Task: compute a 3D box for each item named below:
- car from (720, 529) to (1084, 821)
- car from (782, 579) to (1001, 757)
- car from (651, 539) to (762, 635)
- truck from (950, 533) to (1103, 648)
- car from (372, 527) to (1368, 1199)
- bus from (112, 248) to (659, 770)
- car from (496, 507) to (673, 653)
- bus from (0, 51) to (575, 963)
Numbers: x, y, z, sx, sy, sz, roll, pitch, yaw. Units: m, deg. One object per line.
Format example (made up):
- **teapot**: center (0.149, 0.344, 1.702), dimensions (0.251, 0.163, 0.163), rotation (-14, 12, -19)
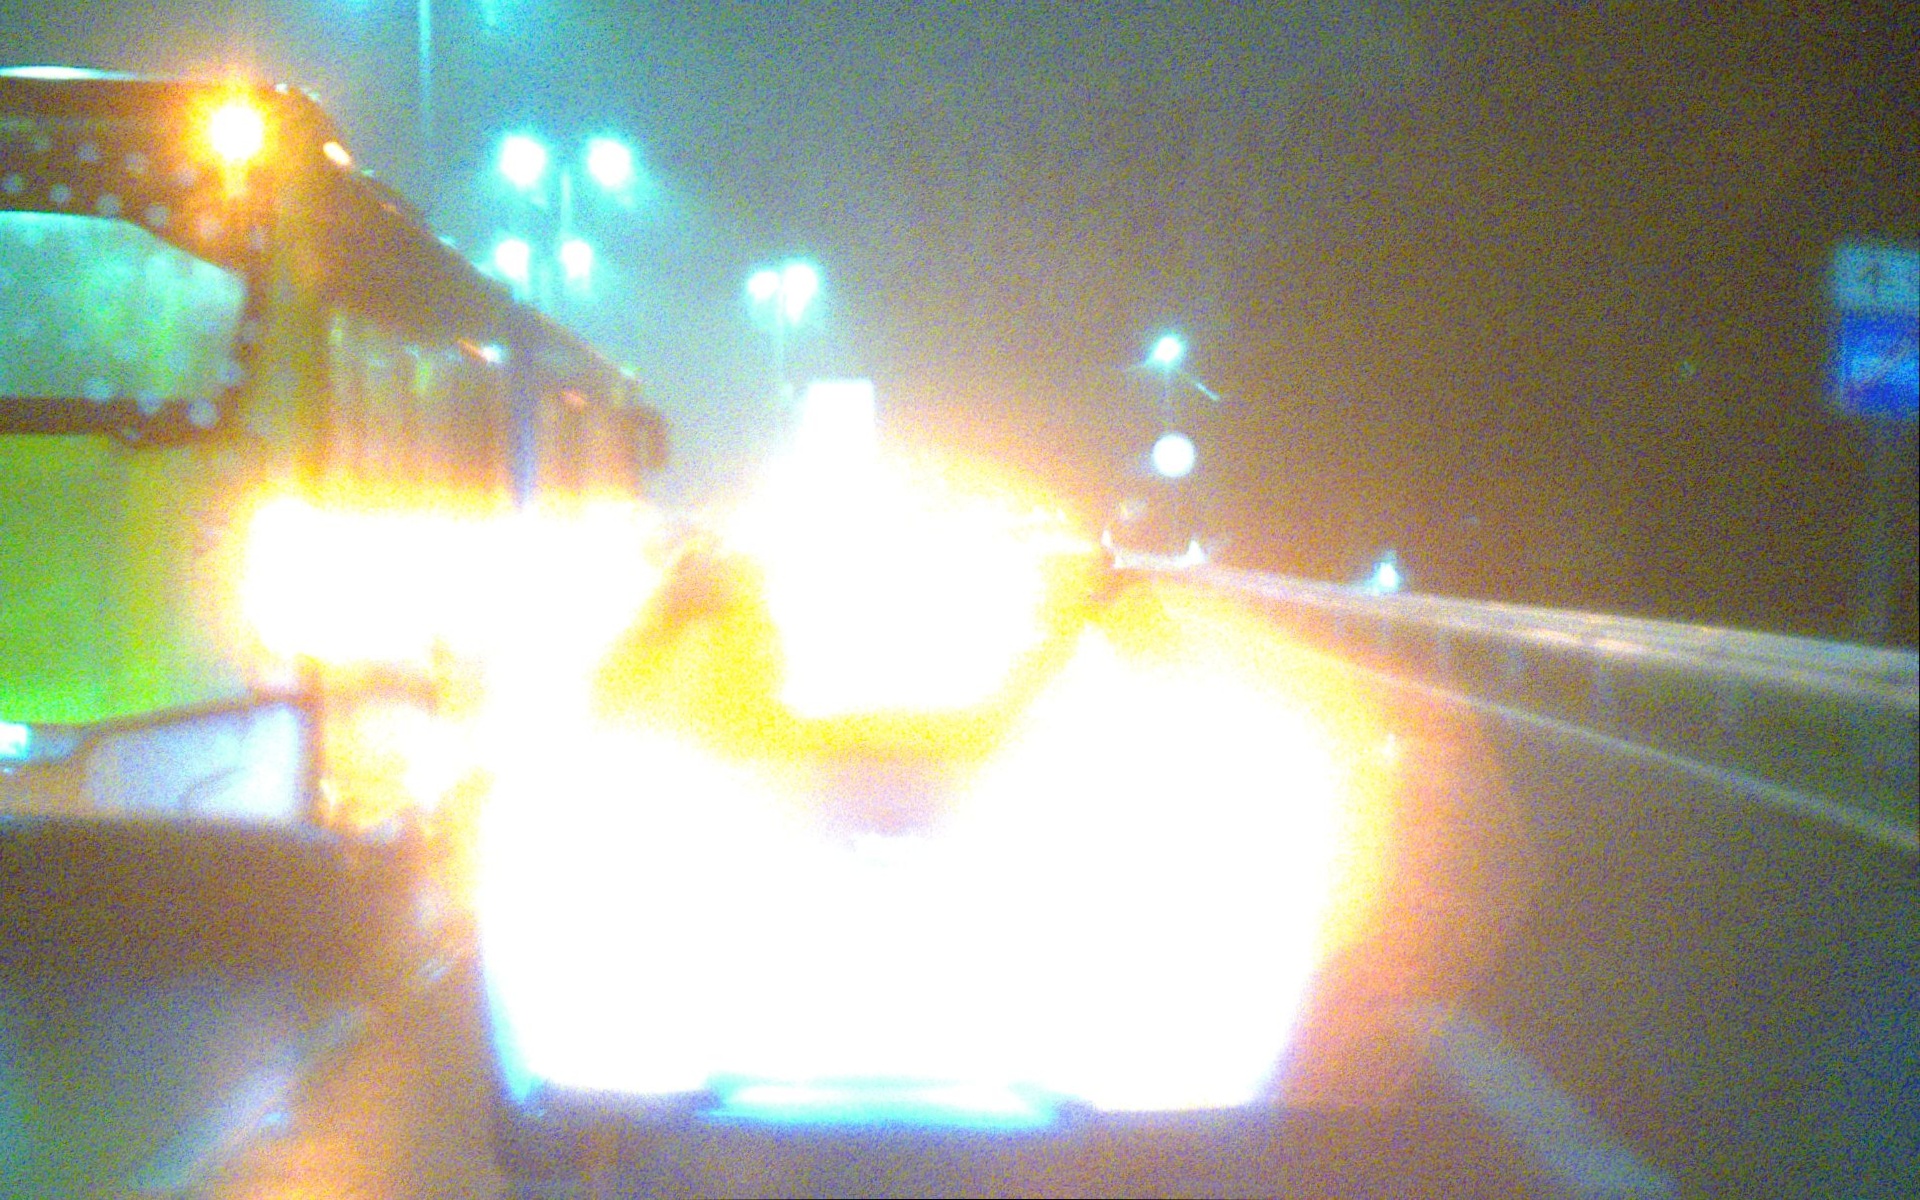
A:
- **car**: center (-0.320, 0.352, 19.235), dimensions (1.822, 1.456, 3.716), rotation (1, 1, -1)
- **car**: center (-0.603, 0.561, 30.799), dimensions (1.822, 1.456, 3.716), rotation (1, 1, -1)
- **car**: center (-4.131, -0.210, 56.426), dimensions (1.557, 1.481, 3.809), rotation (2, 0, -1)
- **truck**: center (1.651, -0.215, 81.686), dimensions (3.070, 2.520, 7.165), rotation (2, 0, 5)
- **car**: center (-0.300, 0.583, 8.601), dimensions (1.944, 1.486, 3.716), rotation (1, 1, -4)
- **bus**: center (-3.904, -0.667, 25.420), dimensions (2.743, 3.112, 8.705), rotation (2, 1, -2)
- **car**: center (-4.107, -0.210, 38.047), dimensions (1.557, 1.481, 3.809), rotation (2, 0, -1)
- **bus**: center (-3.647, -0.460, 16.450), dimensions (2.743, 3.112, 9.202), rotation (2, 1, -2)
